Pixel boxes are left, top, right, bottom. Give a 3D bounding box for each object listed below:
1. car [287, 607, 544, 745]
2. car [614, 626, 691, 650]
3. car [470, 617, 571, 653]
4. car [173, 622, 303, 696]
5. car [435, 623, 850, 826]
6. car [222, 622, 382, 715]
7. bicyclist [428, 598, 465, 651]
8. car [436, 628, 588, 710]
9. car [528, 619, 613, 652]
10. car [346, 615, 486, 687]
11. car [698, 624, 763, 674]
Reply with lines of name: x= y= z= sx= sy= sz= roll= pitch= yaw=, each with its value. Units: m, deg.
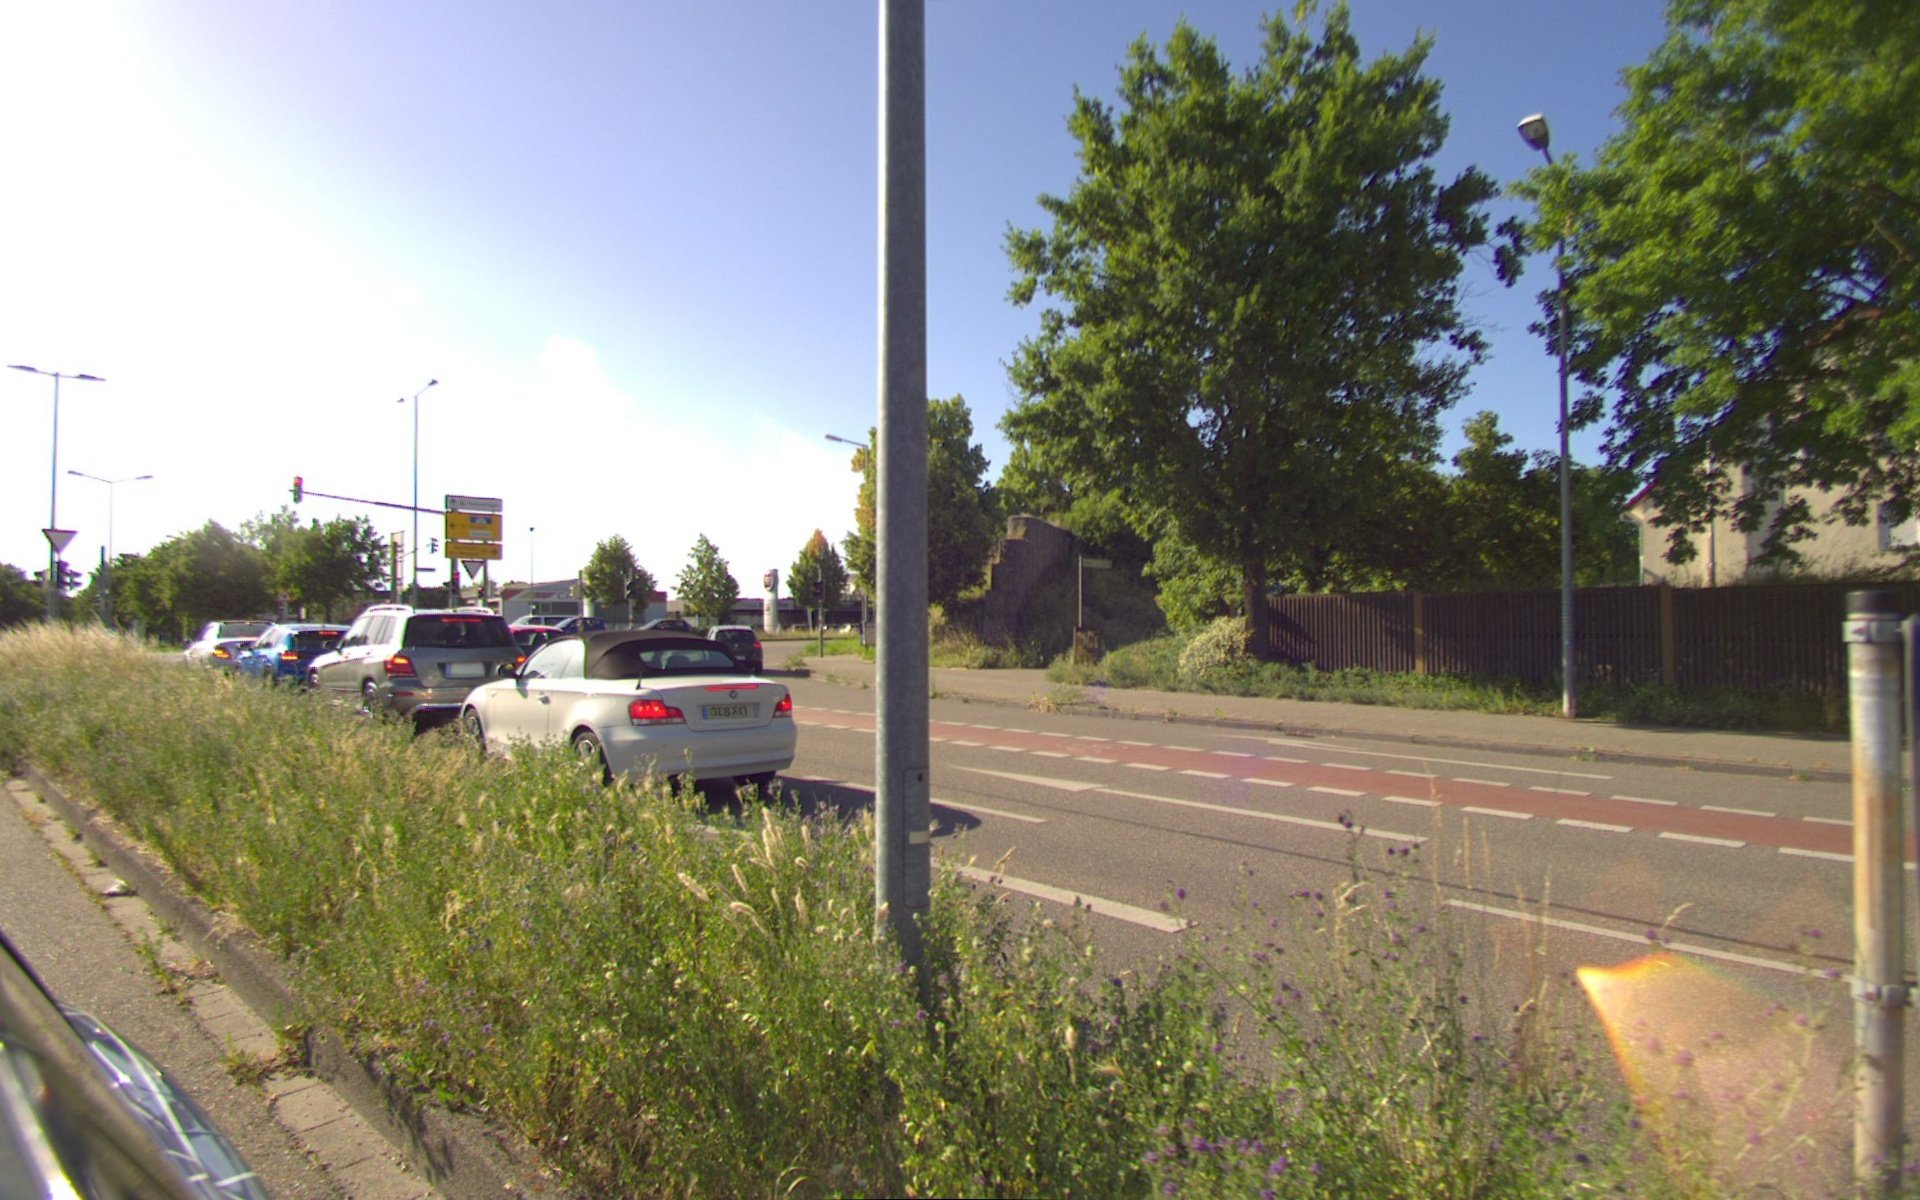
car: x=-7.770 y=0.971 z=14.229 sx=1.970 sy=1.628 sz=4.533 roll=2 pitch=-3 yaw=-45
car: x=-18.176 y=2.250 z=59.999 sx=1.892 sy=1.284 sz=3.983 roll=-5 pitch=-4 yaw=41
car: x=-26.429 y=2.092 z=61.021 sx=2.047 sy=2.029 sz=5.202 roll=-5 pitch=-4 yaw=41
car: x=-16.653 y=1.297 z=23.250 sx=1.772 sy=1.517 sz=4.534 roll=2 pitch=-3 yaw=-44
car: x=-3.191 y=0.978 z=9.609 sx=1.970 sy=1.461 sz=4.402 roll=2 pitch=-3 yaw=-45
car: x=-12.005 y=1.173 z=18.375 sx=1.726 sy=1.494 sz=3.891 roll=2 pitch=-3 yaw=-44
bicyclist: x=-17.134 y=0.825 z=33.752 sx=0.736 sy=1.715 sz=1.242 roll=2 pitch=-3 yaw=-45
car: x=-9.100 y=1.328 z=20.444 sx=1.626 sy=1.494 sz=3.716 roll=2 pitch=-3 yaw=-44
car: x=-21.539 y=1.967 z=56.026 sx=1.892 sy=1.657 sz=3.983 roll=-5 pitch=-4 yaw=41
car: x=-13.908 y=1.263 z=25.756 sx=1.970 sy=1.656 sz=4.534 roll=2 pitch=-3 yaw=-44
car: x=-7.239 y=1.530 z=31.701 sx=1.686 sy=1.442 sz=4.011 roll=2 pitch=-3 yaw=-16
